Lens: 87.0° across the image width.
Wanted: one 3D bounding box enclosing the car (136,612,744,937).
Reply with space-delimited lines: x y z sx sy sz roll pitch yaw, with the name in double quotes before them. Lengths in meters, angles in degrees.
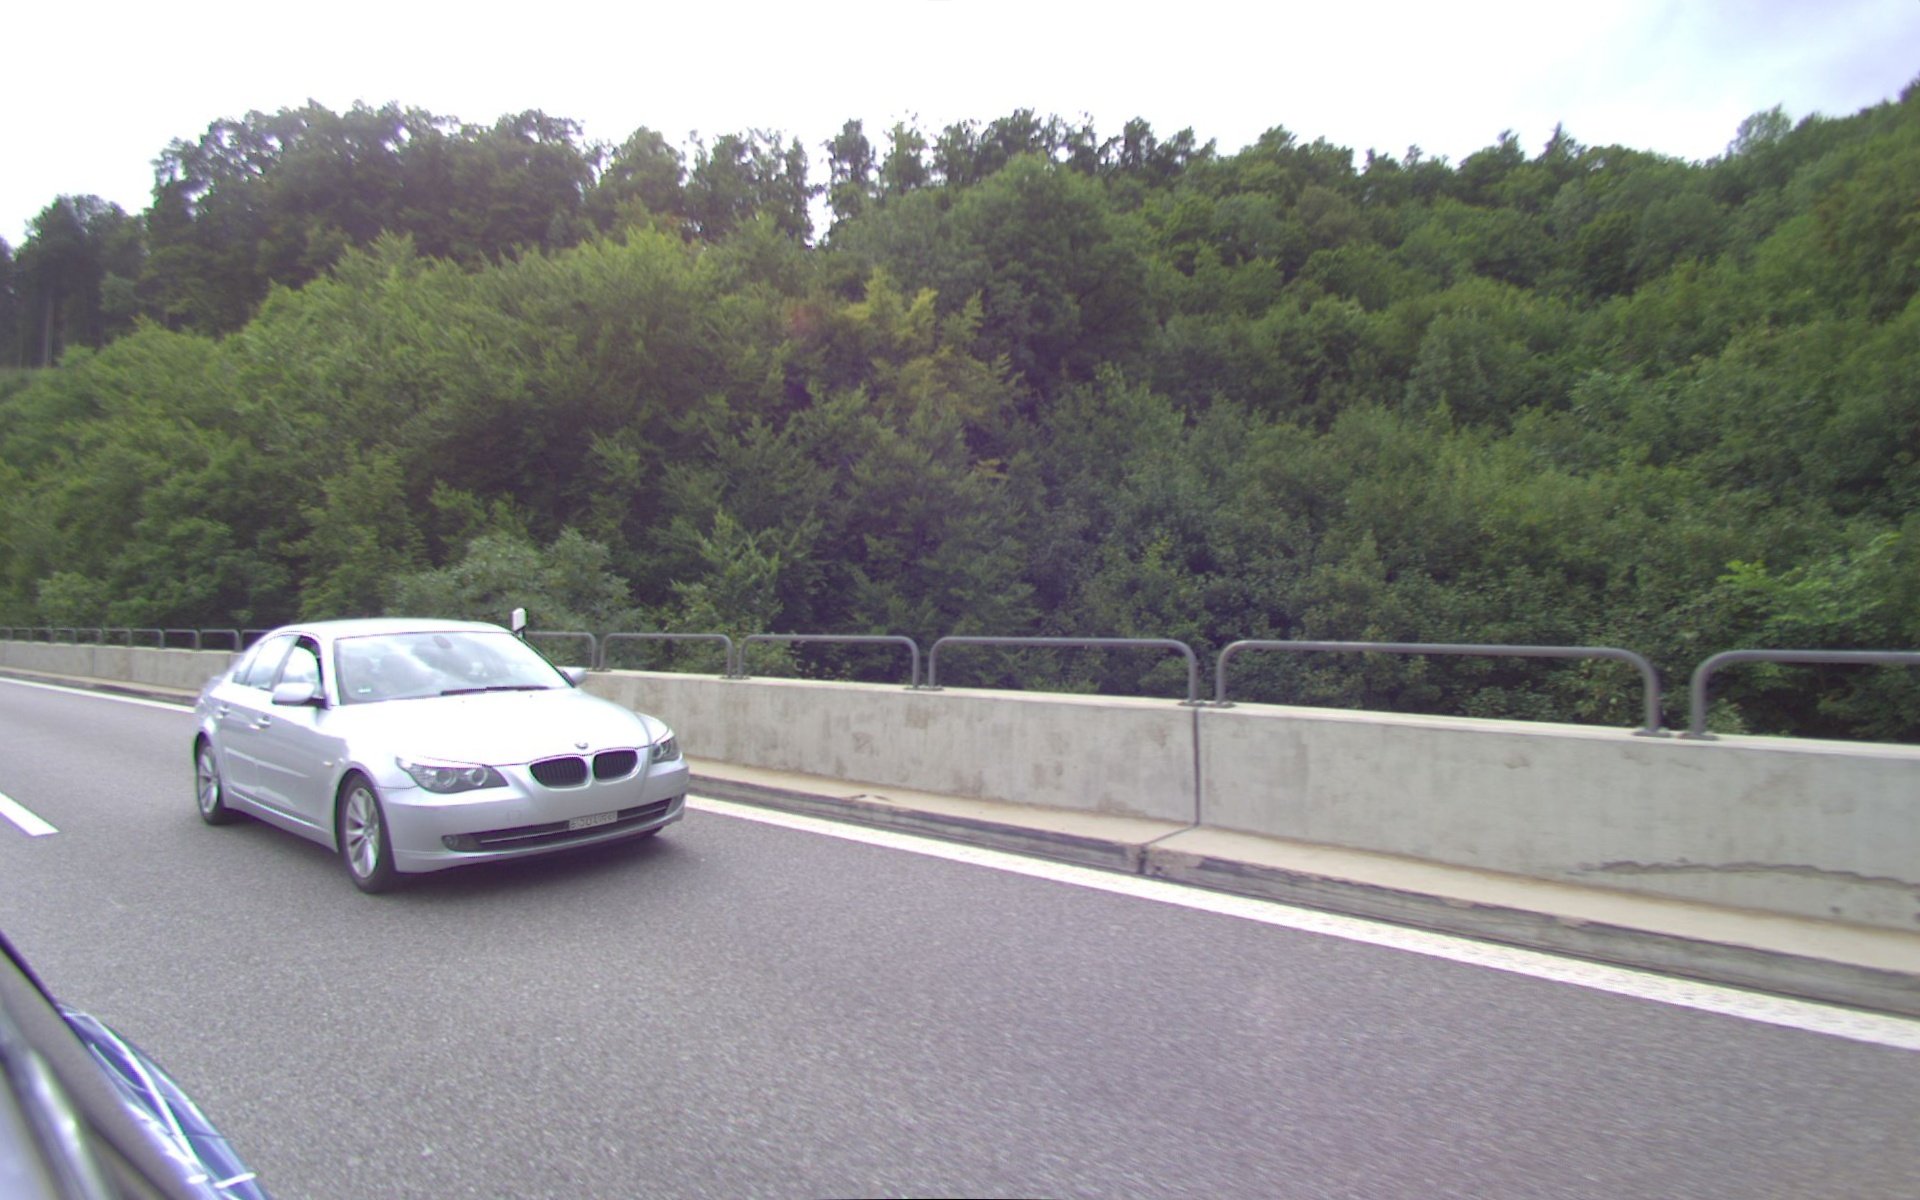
"car" -3.858 0.850 6.981 5.129 1.468 1.810 -1 -1 39
